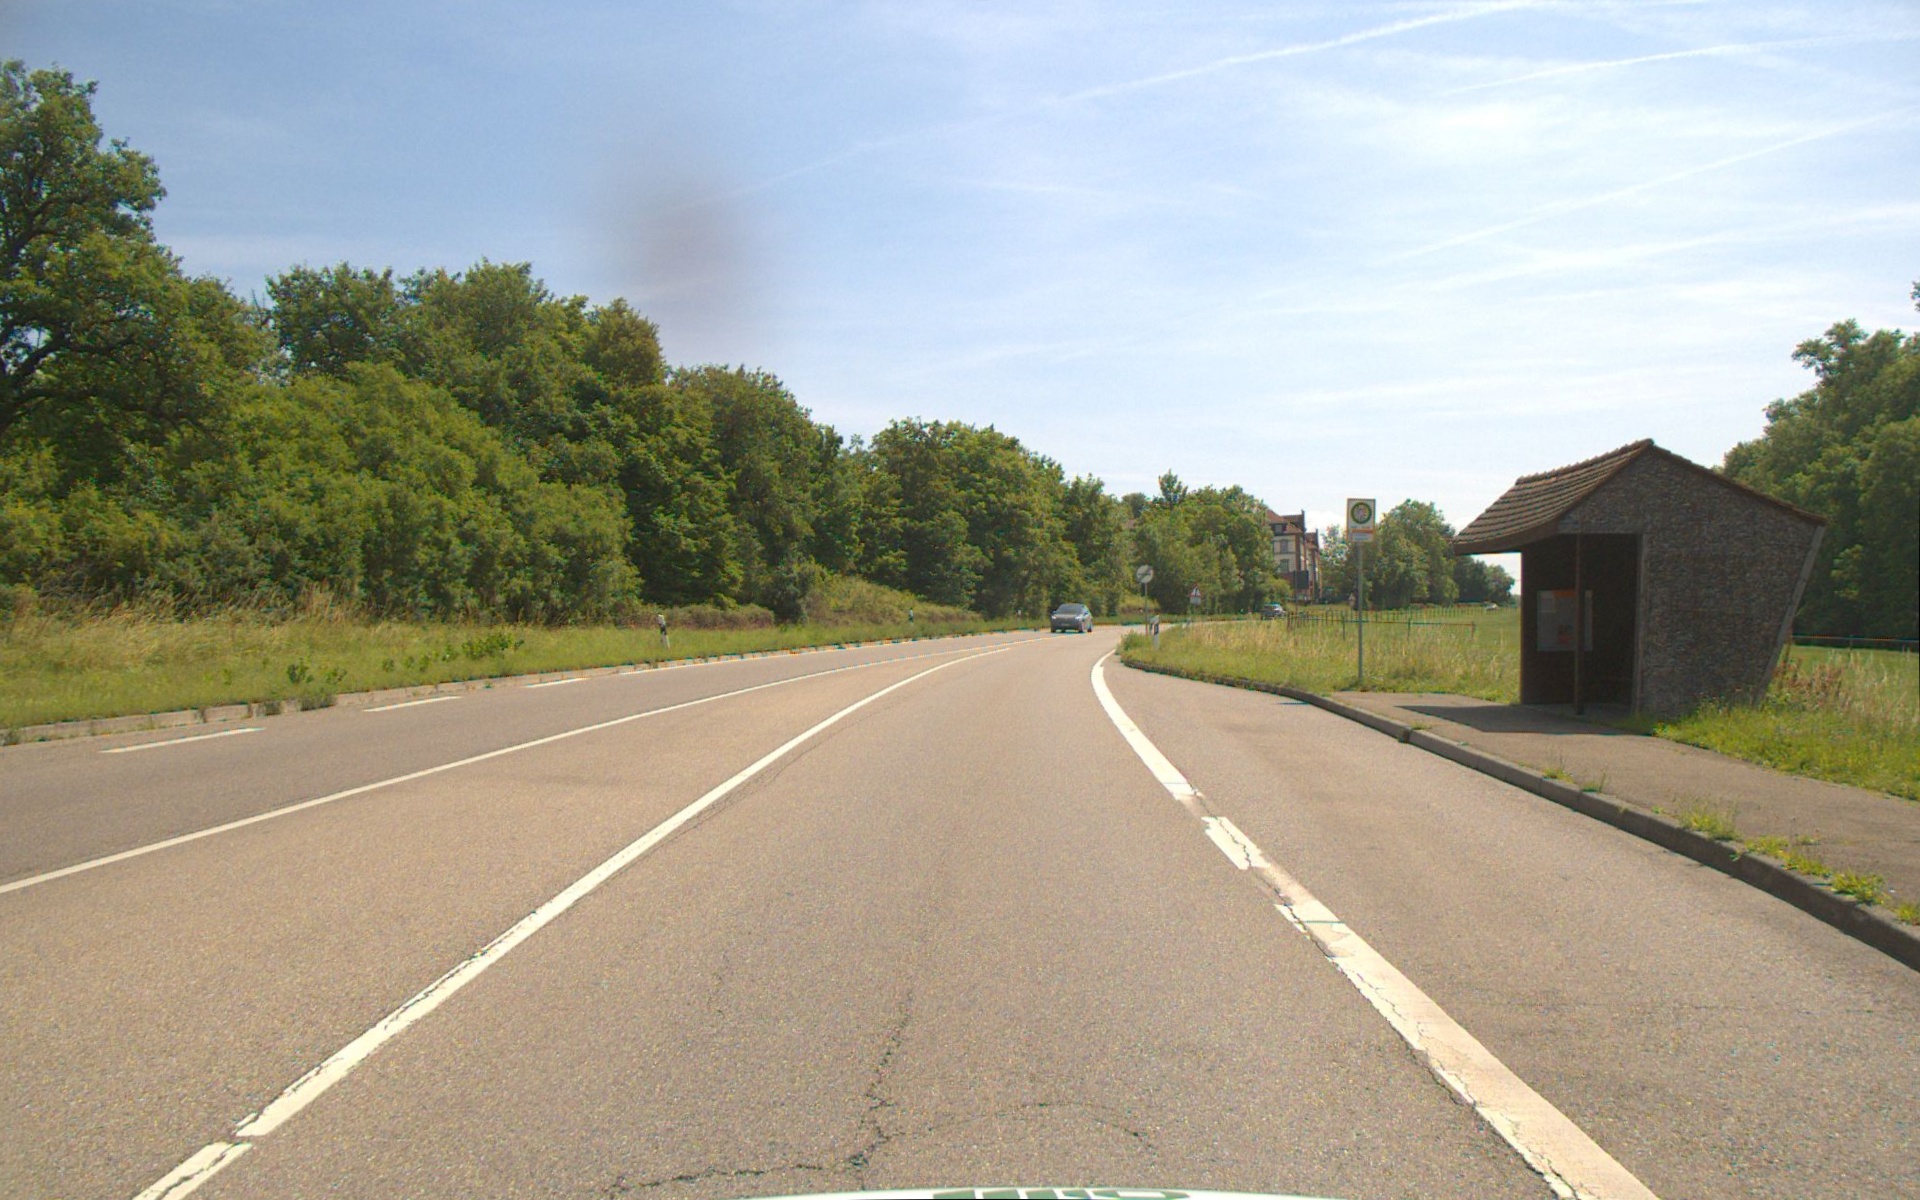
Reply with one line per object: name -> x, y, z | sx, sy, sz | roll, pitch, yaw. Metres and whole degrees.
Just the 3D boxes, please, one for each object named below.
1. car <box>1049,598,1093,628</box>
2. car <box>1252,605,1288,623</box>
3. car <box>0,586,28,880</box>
car -> 6.075, 0.701, 90.189 | 1.717, 1.561, 4.231 | 1, 0, 13
car -> 28.176, 1.245, 150.268 | 1.957, 1.601, 3.992 | 0, 0, 30
car -> -6.152, 0.683, 6.774 | 1.897, 1.575, 4.628 | 1, 0, 2
